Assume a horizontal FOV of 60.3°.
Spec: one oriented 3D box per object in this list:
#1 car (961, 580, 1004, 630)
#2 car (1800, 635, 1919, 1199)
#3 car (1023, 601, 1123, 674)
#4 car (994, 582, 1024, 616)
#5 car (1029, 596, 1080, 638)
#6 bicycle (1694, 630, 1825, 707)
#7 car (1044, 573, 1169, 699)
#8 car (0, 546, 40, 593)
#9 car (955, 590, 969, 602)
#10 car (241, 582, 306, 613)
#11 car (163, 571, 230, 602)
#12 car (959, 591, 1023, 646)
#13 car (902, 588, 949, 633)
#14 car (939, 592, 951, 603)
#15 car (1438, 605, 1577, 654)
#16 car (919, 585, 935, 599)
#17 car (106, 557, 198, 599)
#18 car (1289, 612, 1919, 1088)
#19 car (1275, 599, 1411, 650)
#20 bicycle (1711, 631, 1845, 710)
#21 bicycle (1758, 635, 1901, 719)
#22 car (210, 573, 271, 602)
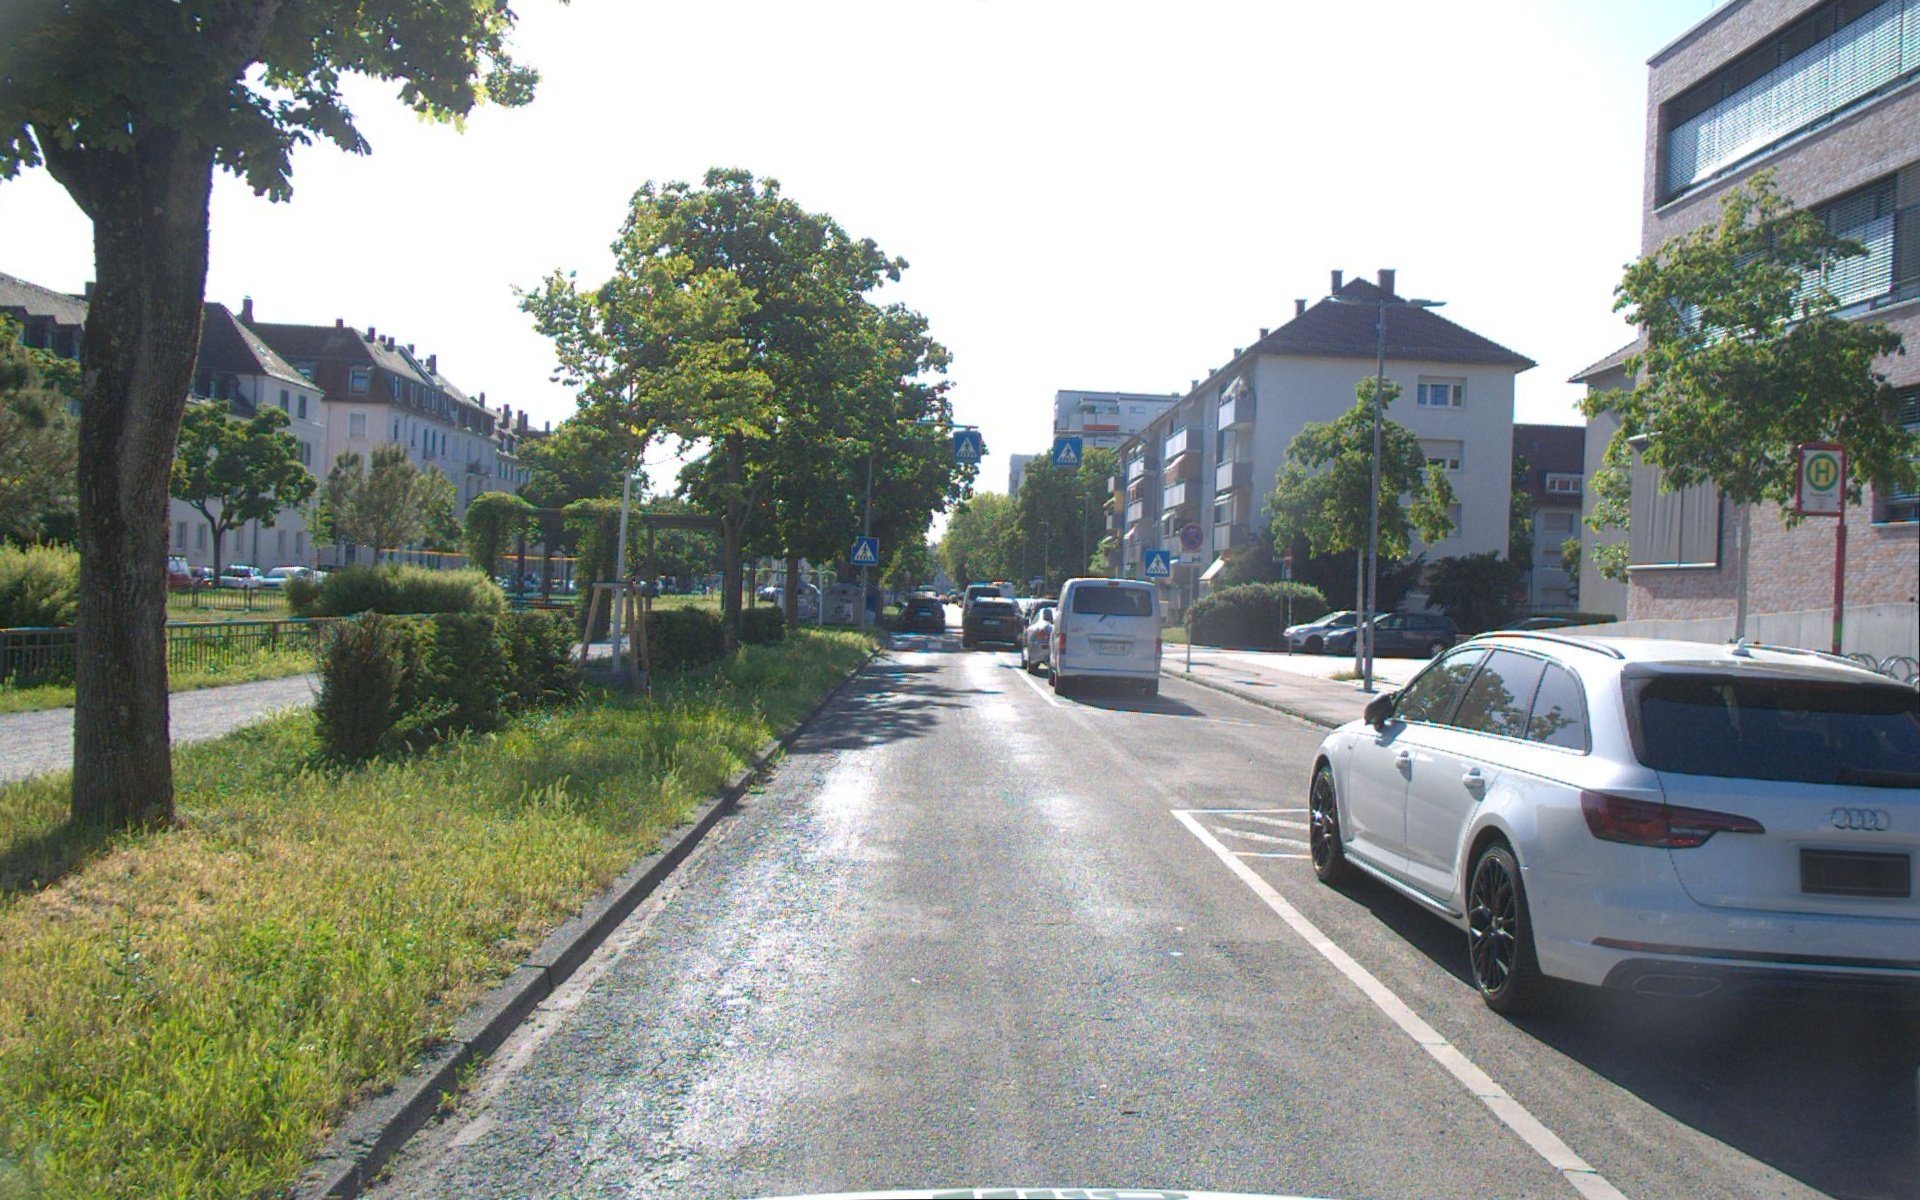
[{"bbox_3d":[1.005,0.208,75.070,1.758,2.159,3.999,2,0,-1],"label":"car"},{"bbox_3d":[3.010,0.839,1.643,1.953,1.445,4.635,2,0,0],"label":"car"},{"bbox_3d":[2.304,0.765,34.573,1.729,1.342,4.167,3,-1,0],"label":"car"},{"bbox_3d":[3.700,-0.073,126.374,1.953,2.472,4.499,4,0,-1],"label":"car"},{"bbox_3d":[3.834,0.675,67.880,1.758,1.629,3.999,3,0,-1],"label":"car"},{"bbox_3d":[12.024,1.028,24.896,1.758,1.127,0.500,0,0,-3],"label":"bicycle"},{"bbox_3d":[2.405,0.554,28.077,1.757,1.887,4.414,2,0,1],"label":"car"},{"bbox_3d":[-40.575,-1.287,69.316,1.758,1.942,3.999,2,0,-1],"label":"car"},{"bbox_3d":[0.235,-0.475,213.550,1.758,1.537,3.999,1,0,-1],"label":"car"},{"bbox_3d":[-36.475,-0.155,88.000,1.758,1.536,3.999,2,0,-1],"label":"car"},{"bbox_3d":[-41.402,-0.725,89.748,1.758,1.536,3.999,2,0,-1],"label":"car"},{"bbox_3d":[0.904,0.534,49.834,1.758,1.536,3.999,2,0,-1],"label":"car"},{"bbox_3d":[-1.347,0.390,65.583,1.758,1.652,3.999,3,0,-1],"label":"car"},{"bbox_3d":[-2.302,-0.365,246.705,1.758,1.537,3.999,1,0,-1],"label":"car"},{"bbox_3d":[19.672,1.079,59.490,4.391,1.567,1.798,2,-2,-4],"label":"car"},{"bbox_3d":[-3.756,-0.933,190.360,1.758,1.537,3.999,1,0,-1],"label":"car"},{"bbox_3d":[-35.597,-0.946,72.996,1.758,1.740,4.702,2,0,-1],"label":"car"},{"bbox_3d":[2.925,0.829,7.606,1.758,1.445,4.656,2,0,-1],"label":"car"},{"bbox_3d":[13.655,0.890,59.048,4.391,1.651,1.798,2,-2,-4],"label":"car"},{"bbox_3d":[12.038,1.029,24.362,1.758,1.127,0.500,0,0,-3],"label":"bicycle"},{"bbox_3d":[12.073,1.065,22.981,1.758,1.127,0.500,0,0,-3],"label":"bicycle"},{"bbox_3d":[-41.562,-0.711,95.613,1.758,1.536,3.999,2,0,-1],"label":"car"}]
